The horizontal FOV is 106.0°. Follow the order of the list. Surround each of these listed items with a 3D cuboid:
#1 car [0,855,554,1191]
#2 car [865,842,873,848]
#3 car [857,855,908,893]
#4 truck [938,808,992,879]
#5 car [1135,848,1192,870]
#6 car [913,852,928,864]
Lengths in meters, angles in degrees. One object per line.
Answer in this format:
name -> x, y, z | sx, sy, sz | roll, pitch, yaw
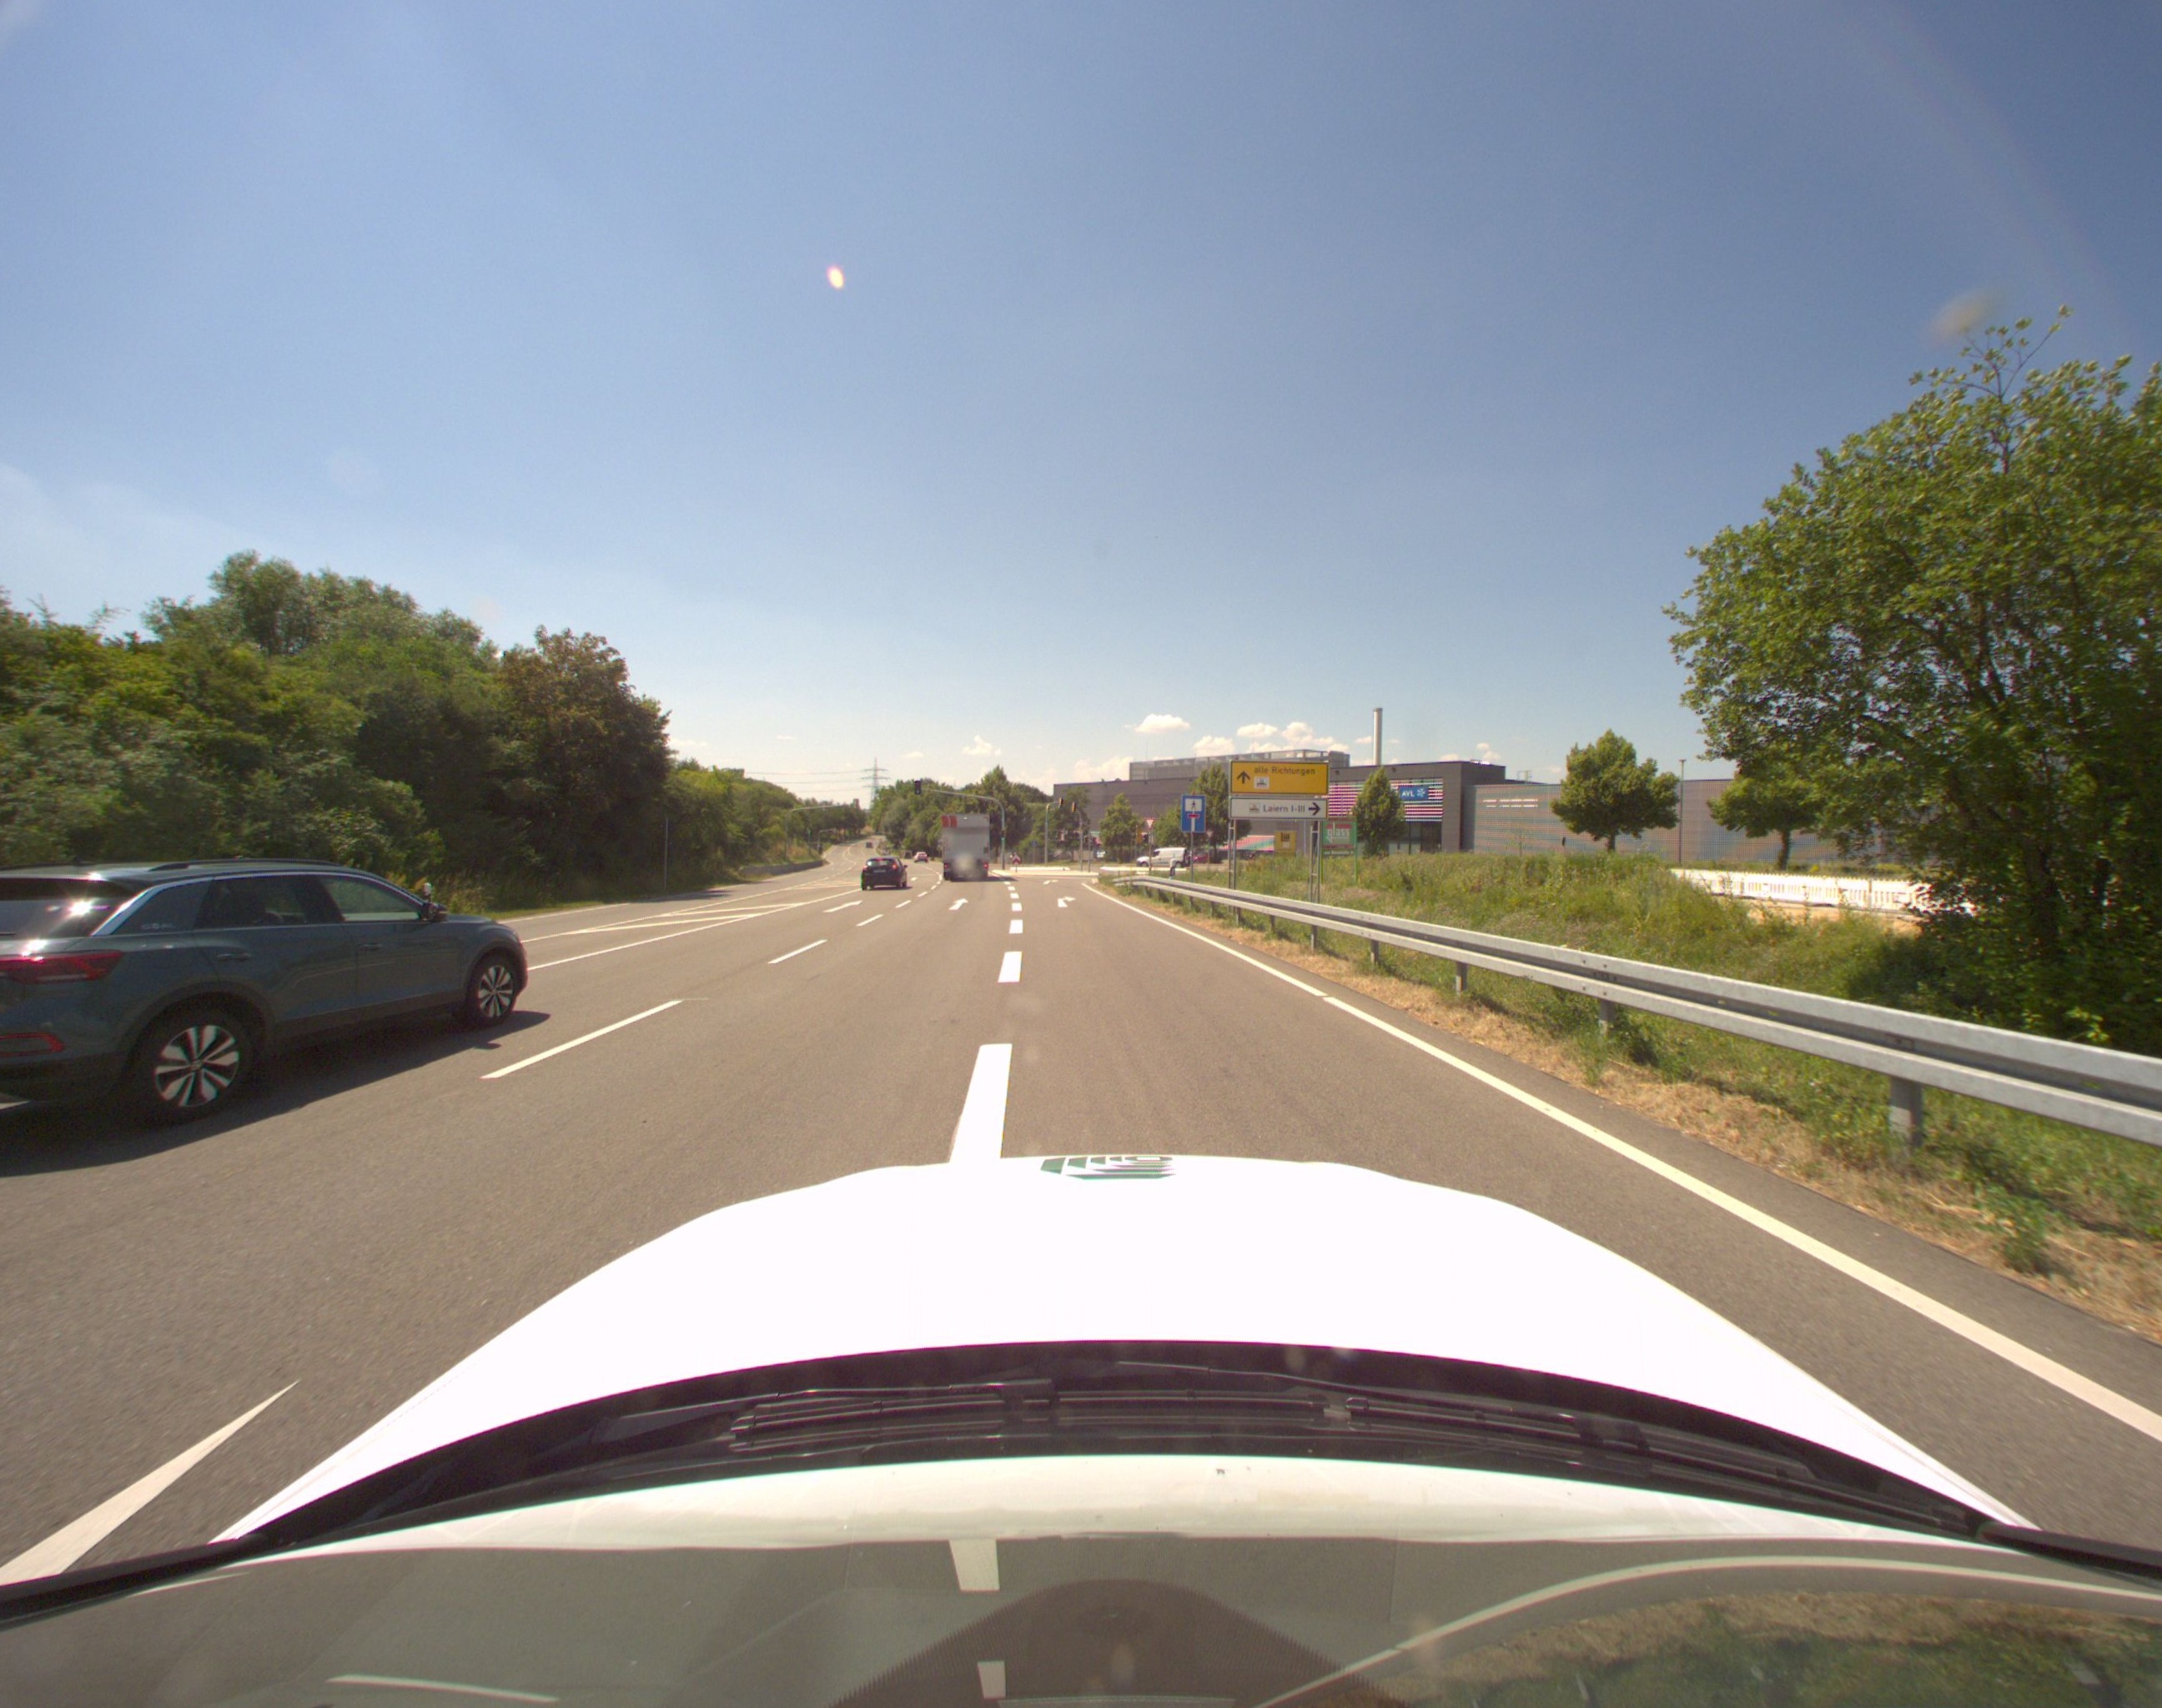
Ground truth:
car -> -6.174, 0.823, 6.014 | 1.830, 1.586, 4.387 | -1, 0, -3
car -> -63.050, -2.648, 242.138 | 1.994, 1.684, 3.985 | -1, 0, -11
car -> -8.862, 0.837, 36.676 | 1.651, 1.493, 4.200 | 0, 1, -6
truck -> -6.775, -0.628, 47.508 | 2.802, 3.710, 9.081 | 0, 1, -9
car -> 7.443, 0.425, 73.261 | 4.708, 1.932, 2.163 | -1, 0, 17
car -> -23.718, 0.586, 120.222 | 1.947, 1.664, 3.980 | 2, 0, -15
